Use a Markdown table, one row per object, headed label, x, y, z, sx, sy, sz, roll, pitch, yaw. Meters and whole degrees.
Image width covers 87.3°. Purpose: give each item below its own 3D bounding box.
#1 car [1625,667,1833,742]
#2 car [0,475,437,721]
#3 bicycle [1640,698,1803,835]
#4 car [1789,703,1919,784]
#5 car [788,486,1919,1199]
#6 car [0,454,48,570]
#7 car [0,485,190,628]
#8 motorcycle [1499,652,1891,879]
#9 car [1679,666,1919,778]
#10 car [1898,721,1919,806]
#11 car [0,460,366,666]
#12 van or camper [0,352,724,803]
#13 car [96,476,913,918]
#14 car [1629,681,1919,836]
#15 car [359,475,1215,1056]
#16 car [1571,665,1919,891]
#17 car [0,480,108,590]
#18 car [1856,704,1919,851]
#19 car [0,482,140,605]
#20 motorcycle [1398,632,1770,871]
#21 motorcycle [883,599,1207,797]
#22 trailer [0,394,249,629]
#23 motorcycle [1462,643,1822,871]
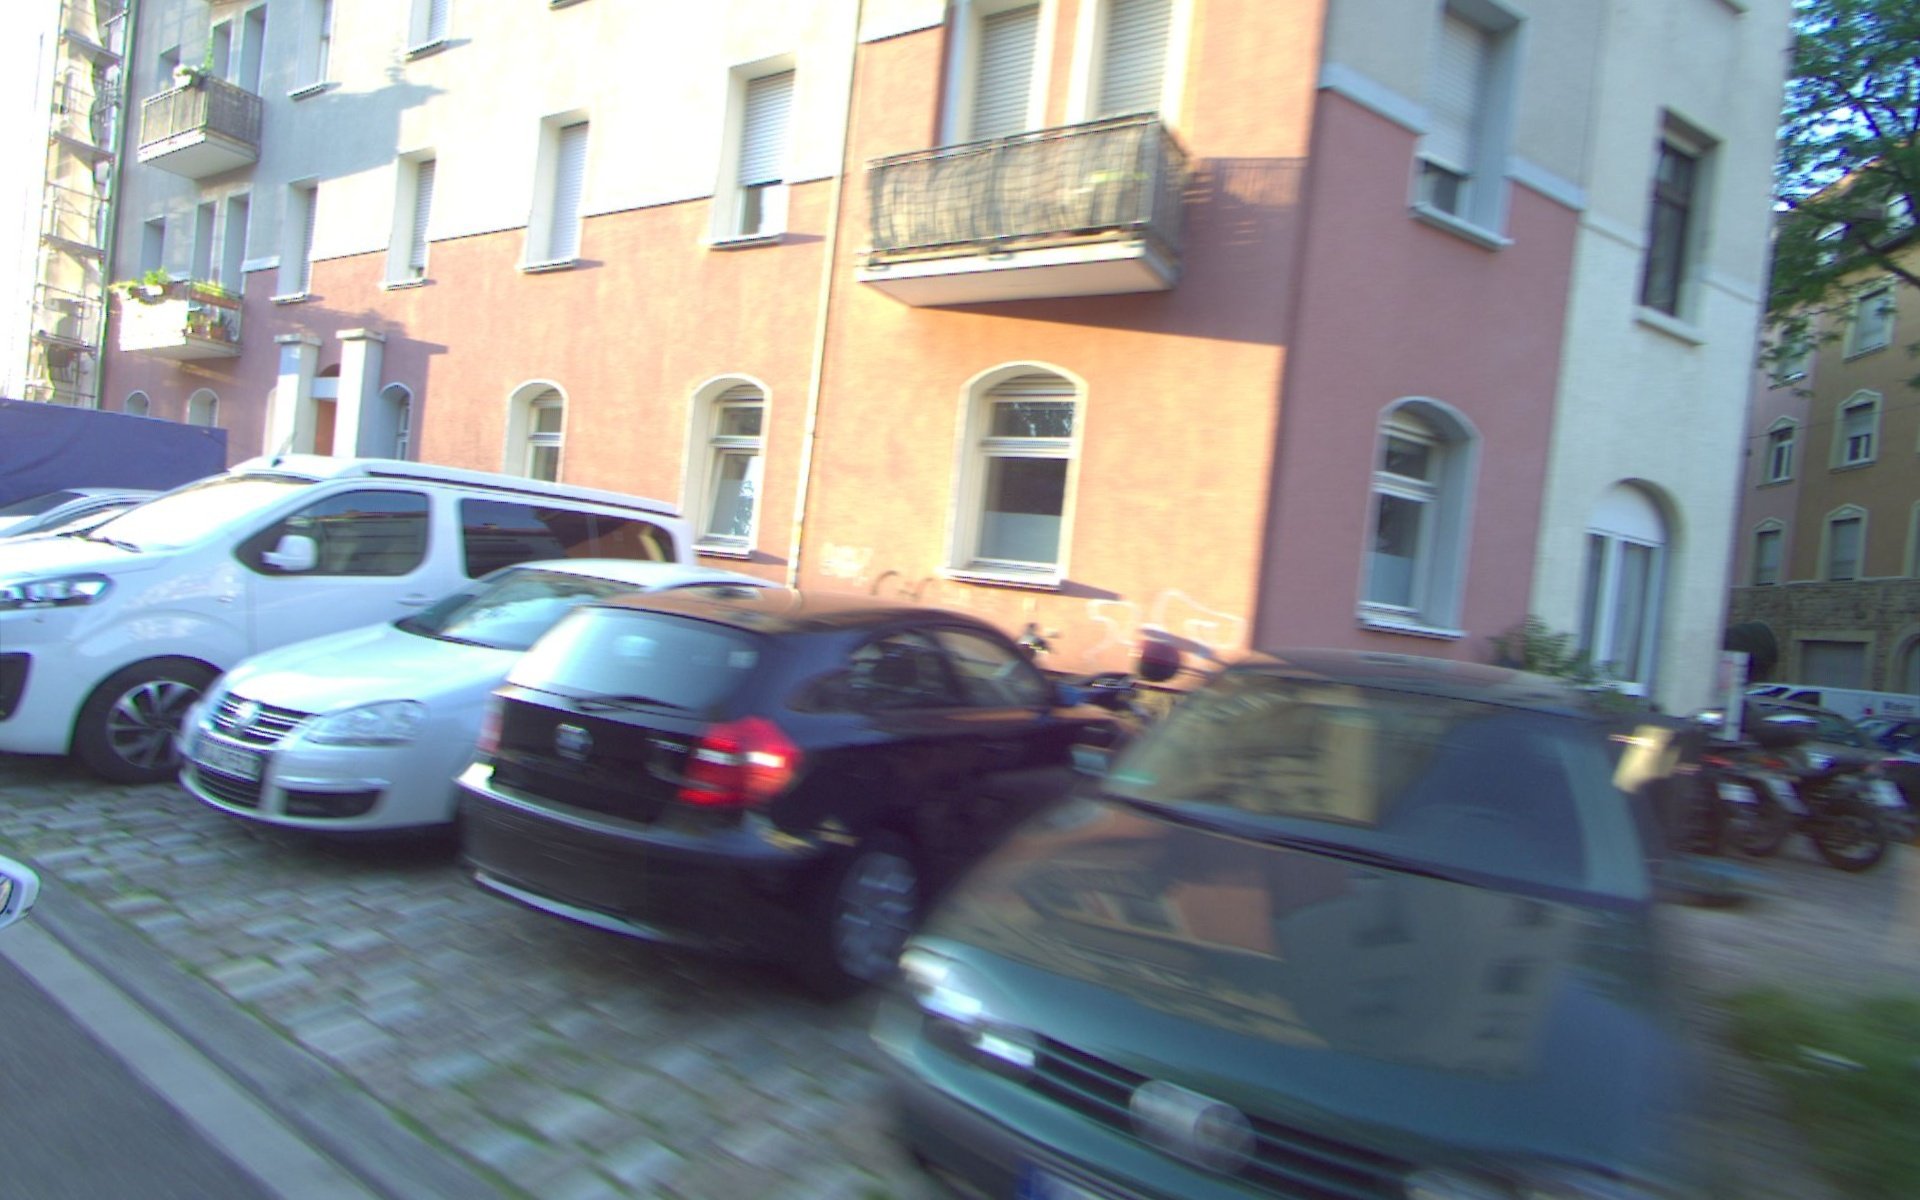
| label | x | y | z | sx | sy | sz | roll | pitch | yaw |
| --- | --- | --- | --- | --- | --- | --- | --- | --- | --- |
| car | 21.148 | 2.849 | 27.829 | 4.028 | 1.415 | 2.000 | 7 | 0 | 4 |
| car | -6.801 | -0.022 | 8.172 | 1.966 | 1.660 | 3.993 | 6 | -1 | 30 |
| bicycle | 8.262 | 1.803 | 10.891 | 1.885 | 1.297 | 0.679 | 7 | 0 | -32 |
| car | 21.444 | 3.336 | 22.467 | 3.923 | 1.415 | 2.001 | 7 | 0 | 9 |
| car | 1.484 | 0.776 | 3.531 | 1.823 | 1.604 | 4.109 | 7 | 0 | 29 |
| car | -18.260 | -1.678 | 16.656 | 1.789 | 2.006 | 4.271 | 8 | 3 | 25 |
| car | -12.448 | -0.658 | 12.559 | 1.871 | 1.658 | 3.994 | 7 | 0 | 29 |
| motorcycle | 6.229 | 1.331 | 8.811 | 0.735 | 1.452 | 2.638 | 6 | 0 | -23 |
| car | 21.288 | 3.025 | 25.103 | 4.897 | 2.039 | 2.190 | 7 | 0 | 2 |
| car | 19.979 | 3.307 | 18.161 | 3.924 | 1.549 | 2.001 | 7 | 0 | 6 |
| car | -8.613 | -0.336 | 10.128 | 1.967 | 1.749 | 3.992 | 5 | -1 | 31 |
| van or camper | -4.242 | -0.035 | 7.161 | 2.007 | 2.122 | 4.840 | 7 | 0 | 31 |
| car | -2.268 | 0.448 | 6.086 | 1.966 | 1.638 | 3.993 | 7 | 0 | 30 |
| car | 11.935 | 2.173 | 14.440 | 1.936 | 1.524 | 4.000 | 7 | 0 | 2 |
| car | -0.348 | 0.532 | 5.001 | 1.966 | 1.549 | 3.993 | 7 | 0 | 30 |
| car | 7.248 | 1.494 | 9.167 | 0.835 | 1.474 | 2.761 | 6 | 0 | -24 |
| car | -16.046 | -1.184 | 15.748 | 1.716 | 1.630 | 3.697 | 7 | 0 | 30 |
| car | 11.370 | 2.056 | 9.665 | 1.933 | 1.524 | 4.001 | 7 | 0 | 4 |
| car | -14.227 | -0.939 | 13.956 | 1.758 | 1.591 | 3.971 | 7 | 0 | 29 |
| motorcycle | 4.796 | 1.102 | 8.008 | 0.827 | 1.452 | 2.340 | 6 | 0 | -23 |
| motorcycle | 0.662 | 0.768 | 8.631 | 2.610 | 1.251 | 0.743 | 7 | 1 | 33 |
| trailer | -10.314 | -0.967 | 11.018 | 1.908 | 2.368 | 3.569 | 7 | 2 | 29 |
| motorcycle | 5.532 | 1.207 | 8.411 | 0.735 | 1.452 | 2.340 | 6 | 0 | -23 |
